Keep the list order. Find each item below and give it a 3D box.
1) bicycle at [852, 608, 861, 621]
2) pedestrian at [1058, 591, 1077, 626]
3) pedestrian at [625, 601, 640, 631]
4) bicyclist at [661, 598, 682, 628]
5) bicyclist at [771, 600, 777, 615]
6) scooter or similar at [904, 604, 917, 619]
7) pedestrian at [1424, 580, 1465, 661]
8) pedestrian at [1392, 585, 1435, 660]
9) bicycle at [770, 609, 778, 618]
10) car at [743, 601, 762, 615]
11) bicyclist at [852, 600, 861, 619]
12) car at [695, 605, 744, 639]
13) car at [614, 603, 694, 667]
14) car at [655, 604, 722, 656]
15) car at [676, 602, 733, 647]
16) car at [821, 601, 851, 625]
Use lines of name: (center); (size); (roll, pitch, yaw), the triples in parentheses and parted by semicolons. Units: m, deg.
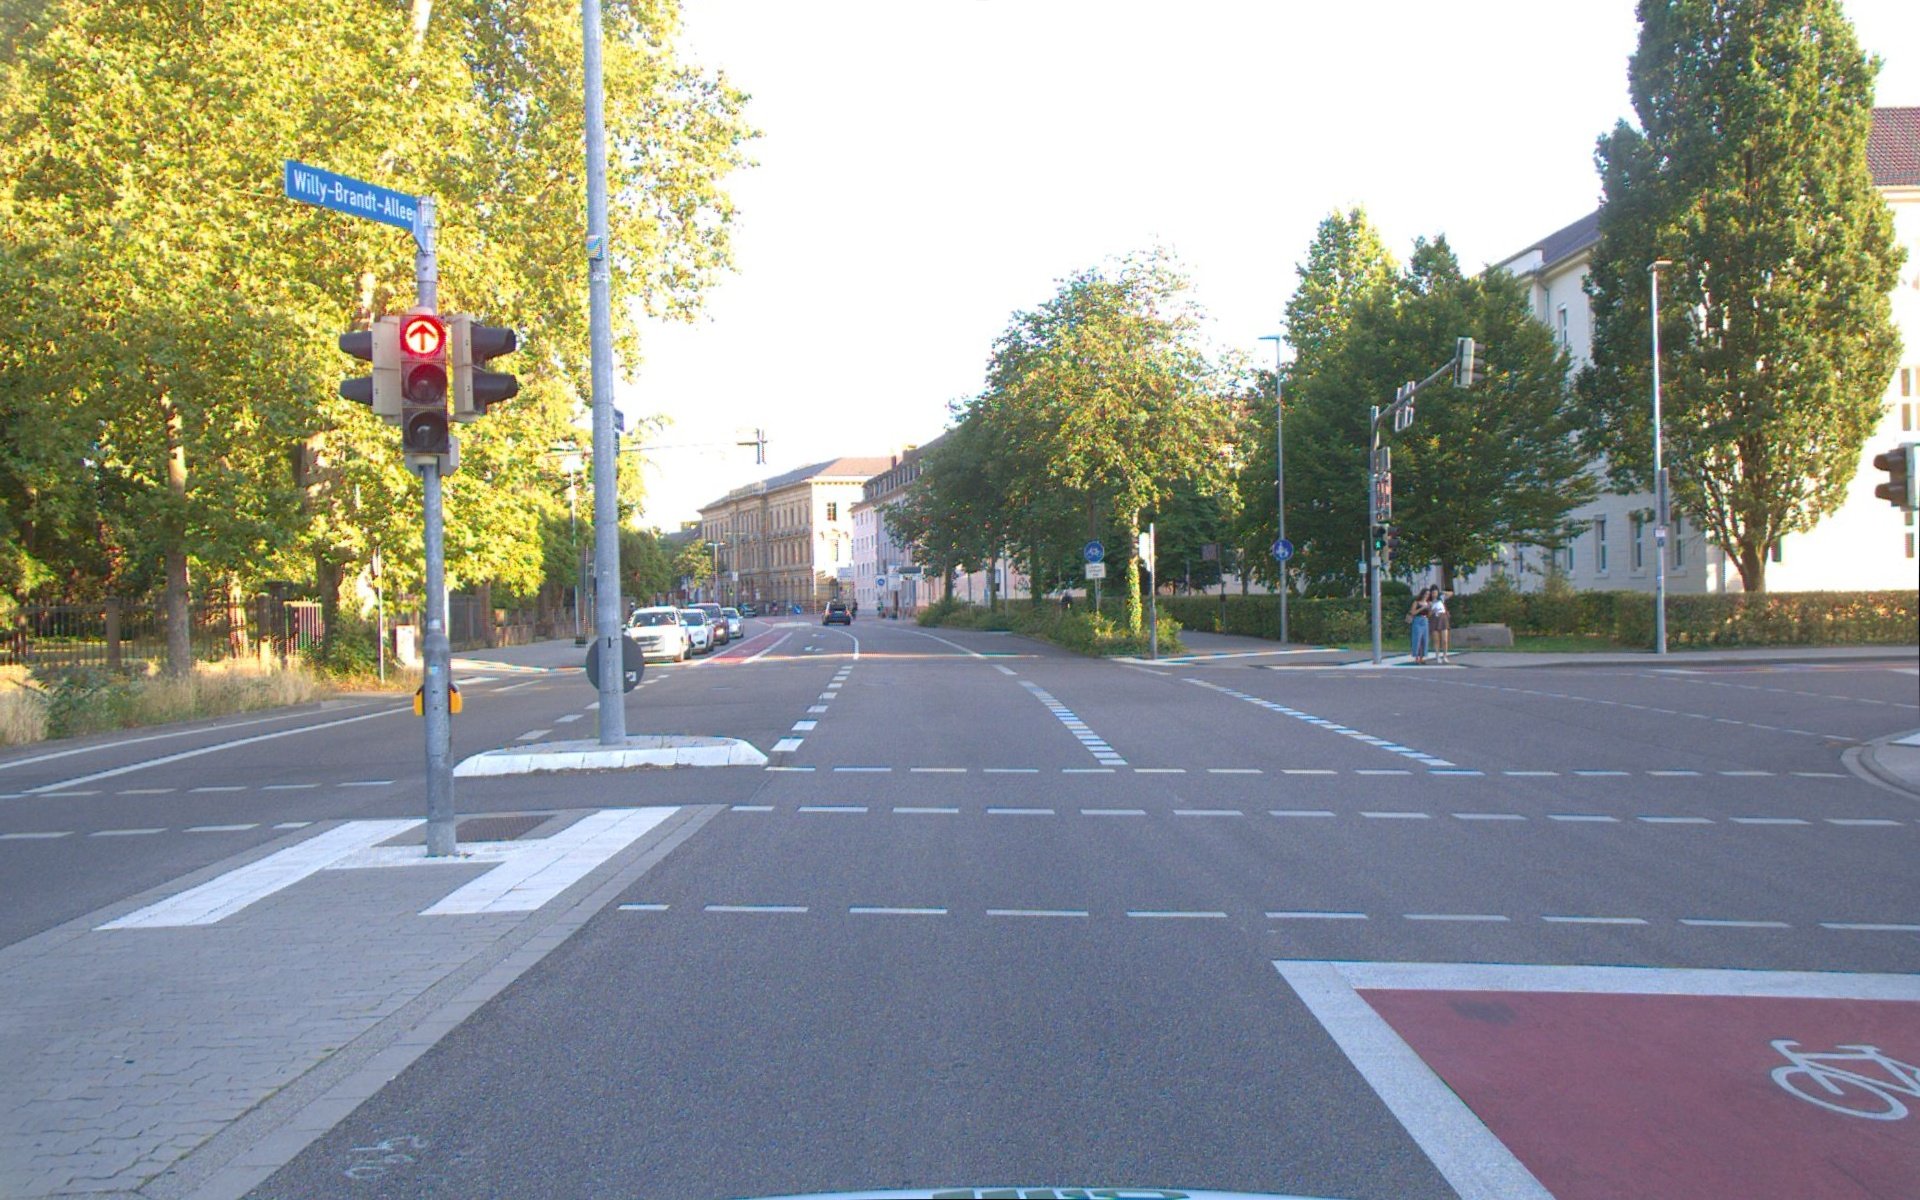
bicycle: (-8.295, 1.179, 132.775); (0.639, 1.033, 2.197); (1, 0, -2)
pedestrian: (5.465, 0.445, 84.044); (0.756, 1.769, 0.805); (-1, 0, -10)
pedestrian: (-18.433, 0.914, 92.992); (0.667, 1.650, 0.688); (-1, 0, -1)
bicyclist: (-14.223, 0.633, 81.550); (0.838, 1.456, 0.943); (-1, 0, -1)
bicyclist: (-21.684, 0.914, 192.905); (0.640, 1.727, 0.954); (1, -1, -11)
scooter or similar: (-4.372, 1.004, 145.262); (0.619, 1.360, 2.391); (-1, 0, -14)
pedestrian: (10.847, 0.442, 37.033); (0.667, 1.784, 0.688); (-1, 0, -1)
pedestrian: (10.151, 0.495, 37.038); (0.667, 1.650, 0.845); (-1, 0, -1)
bicycle: (-21.710, 1.556, 192.984); (0.640, 1.033, 2.192); (1, 0, -11)
car: (-23.975, 0.908, 191.257); (1.882, 1.442, 4.758); (-3, 0, -11)
bicyclist: (-8.293, 0.761, 132.781); (0.639, 1.501, 0.940); (1, 0, -2)
car: (-11.177, 1.003, 77.067); (1.879, 1.442, 4.765); (-3, 0, -5)
car: (-9.218, 1.010, 50.132); (1.879, 1.725, 4.422); (-3, 0, -5)
car: (-9.390, 1.019, 57.495); (1.879, 1.611, 4.669); (-3, 0, -5)
car: (-10.249, 0.949, 66.685); (1.879, 1.653, 4.634); (-3, 0, -5)
car: (-8.137, 0.862, 108.738); (1.830, 1.536, 3.998); (-1, 0, -3)
